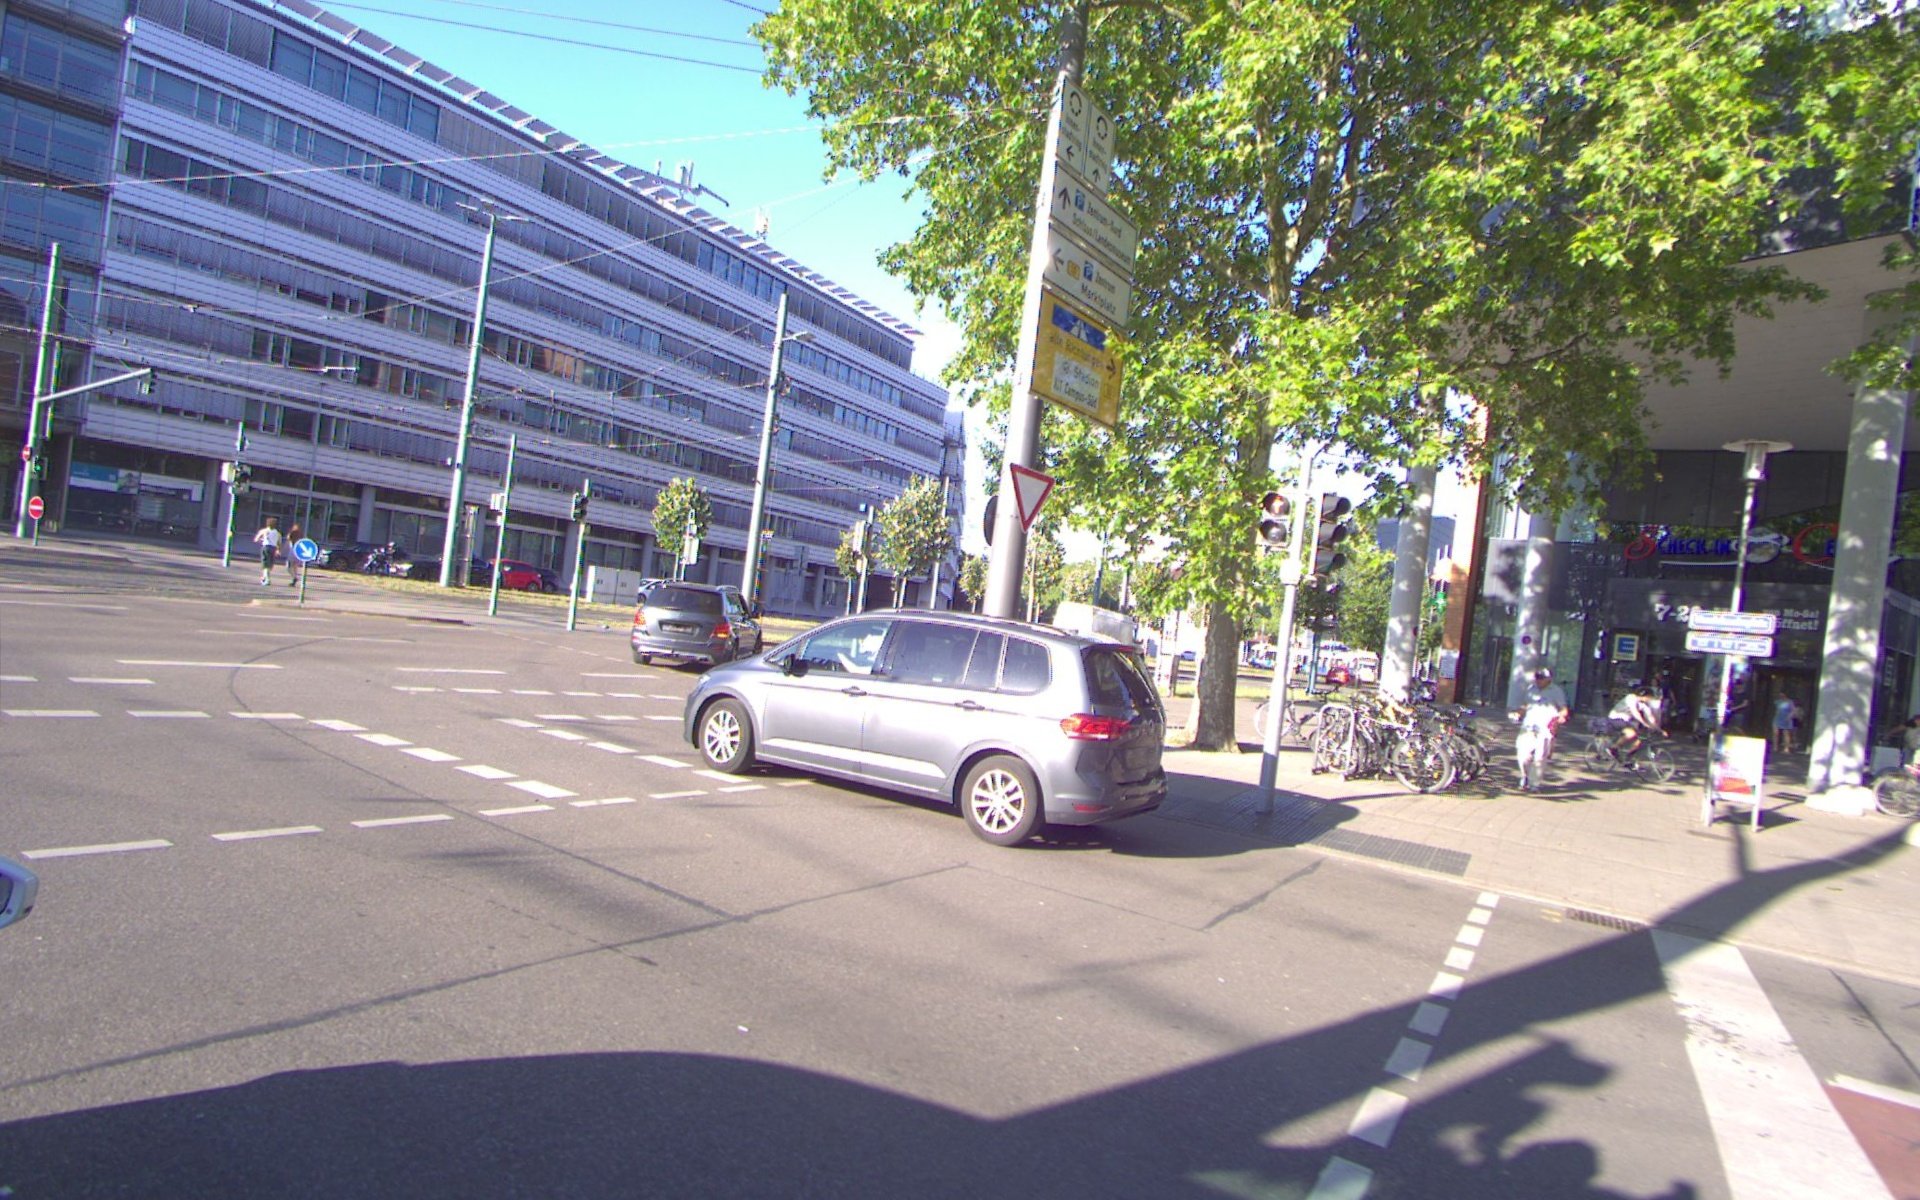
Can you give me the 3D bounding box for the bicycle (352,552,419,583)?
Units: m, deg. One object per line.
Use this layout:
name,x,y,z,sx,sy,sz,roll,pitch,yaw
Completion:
bicycle,-24.872,-1.386,43.593,0.627,1.034,2.410,7,-1,37

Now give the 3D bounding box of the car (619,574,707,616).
car,-15.403,-0.227,52.381,1.852,1.614,3.992,6,-3,35

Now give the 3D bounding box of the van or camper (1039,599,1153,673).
van or camper,6.063,1.659,44.065,1.975,2.646,6.481,7,-1,35

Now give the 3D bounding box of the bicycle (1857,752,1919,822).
bicycle,16.697,3.280,16.989,0.596,1.028,2.172,4,1,-38

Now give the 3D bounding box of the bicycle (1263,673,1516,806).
bicycle,5.602,1.781,13.250,2.896,1.243,0.686,6,-2,32

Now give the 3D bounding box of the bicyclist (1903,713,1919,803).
bicyclist,16.647,2.722,17.095,0.587,1.504,0.743,4,1,-39

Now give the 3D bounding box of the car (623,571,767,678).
car,-5.022,0.485,19.672,1.739,1.655,4.250,8,-2,-3

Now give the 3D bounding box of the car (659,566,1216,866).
car,-0.279,0.816,8.536,4.316,1.655,1.710,7,-1,30

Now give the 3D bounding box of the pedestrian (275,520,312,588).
pedestrian,-18.537,-1.271,27.965,0.679,1.780,0.734,6,0,-37

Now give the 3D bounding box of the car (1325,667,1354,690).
car,28.085,5.821,74.389,1.469,1.476,3.596,7,-2,27

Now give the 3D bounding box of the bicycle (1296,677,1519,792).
bicycle,6.689,1.978,15.156,2.896,1.252,0.705,6,-2,32

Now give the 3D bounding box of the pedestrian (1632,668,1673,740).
pedestrian,20.848,3.122,30.283,0.817,2.037,0.647,8,-2,-38

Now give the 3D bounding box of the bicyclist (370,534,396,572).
bicyclist,-24.908,-2.029,43.412,0.604,1.521,0.663,7,0,37

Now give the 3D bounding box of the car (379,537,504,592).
car,-22.039,-1.476,42.886,1.854,1.743,4.256,7,-1,35

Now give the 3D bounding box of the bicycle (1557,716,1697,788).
bicycle,12.647,2.855,19.120,2.072,0.964,0.744,6,1,43

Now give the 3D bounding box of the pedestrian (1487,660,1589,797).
pedestrian,8.745,1.919,15.240,0.800,1.913,0.871,5,0,-16

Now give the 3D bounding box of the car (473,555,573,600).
car,-21.188,-1.084,48.877,1.770,1.569,3.990,6,-3,37

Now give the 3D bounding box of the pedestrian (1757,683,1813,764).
pedestrian,22.392,3.348,27.301,0.818,2.037,0.825,8,-2,-33

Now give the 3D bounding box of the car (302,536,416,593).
car,-28.191,-1.628,47.297,1.967,2.036,3.995,6,-3,32

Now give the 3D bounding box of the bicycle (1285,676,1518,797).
bicycle,6.317,1.934,14.511,2.896,1.251,0.705,6,-3,32

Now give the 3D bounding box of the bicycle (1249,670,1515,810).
bicycle,5.245,1.704,12.636,2.896,1.252,0.705,6,-2,32

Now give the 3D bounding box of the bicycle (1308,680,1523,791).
bicycle,7.082,2.093,15.747,2.896,1.250,0.698,6,-4,32

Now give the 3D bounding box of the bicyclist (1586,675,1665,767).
bicyclist,12.676,2.294,19.169,1.016,1.585,0.804,6,-1,42

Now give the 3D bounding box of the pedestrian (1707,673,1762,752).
pedestrian,21.677,3.144,28.169,0.813,2.037,0.840,8,-2,-34

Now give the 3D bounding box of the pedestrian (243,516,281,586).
pedestrian,-18.958,-1.332,27.321,0.673,1.780,0.735,6,0,-34

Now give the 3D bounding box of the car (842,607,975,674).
car,-1.360,1.178,28.406,1.613,1.445,3.980,7,-2,33

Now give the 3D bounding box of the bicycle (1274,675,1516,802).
bicycle,5.950,1.856,13.880,2.896,1.252,0.705,6,-2,32

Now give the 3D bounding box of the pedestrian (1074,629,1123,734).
pedestrian,2.281,1.335,16.568,0.523,1.644,0.543,7,0,19

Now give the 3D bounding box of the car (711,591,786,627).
car,-12.686,0.556,60.632,1.852,1.614,4.122,6,-3,35
